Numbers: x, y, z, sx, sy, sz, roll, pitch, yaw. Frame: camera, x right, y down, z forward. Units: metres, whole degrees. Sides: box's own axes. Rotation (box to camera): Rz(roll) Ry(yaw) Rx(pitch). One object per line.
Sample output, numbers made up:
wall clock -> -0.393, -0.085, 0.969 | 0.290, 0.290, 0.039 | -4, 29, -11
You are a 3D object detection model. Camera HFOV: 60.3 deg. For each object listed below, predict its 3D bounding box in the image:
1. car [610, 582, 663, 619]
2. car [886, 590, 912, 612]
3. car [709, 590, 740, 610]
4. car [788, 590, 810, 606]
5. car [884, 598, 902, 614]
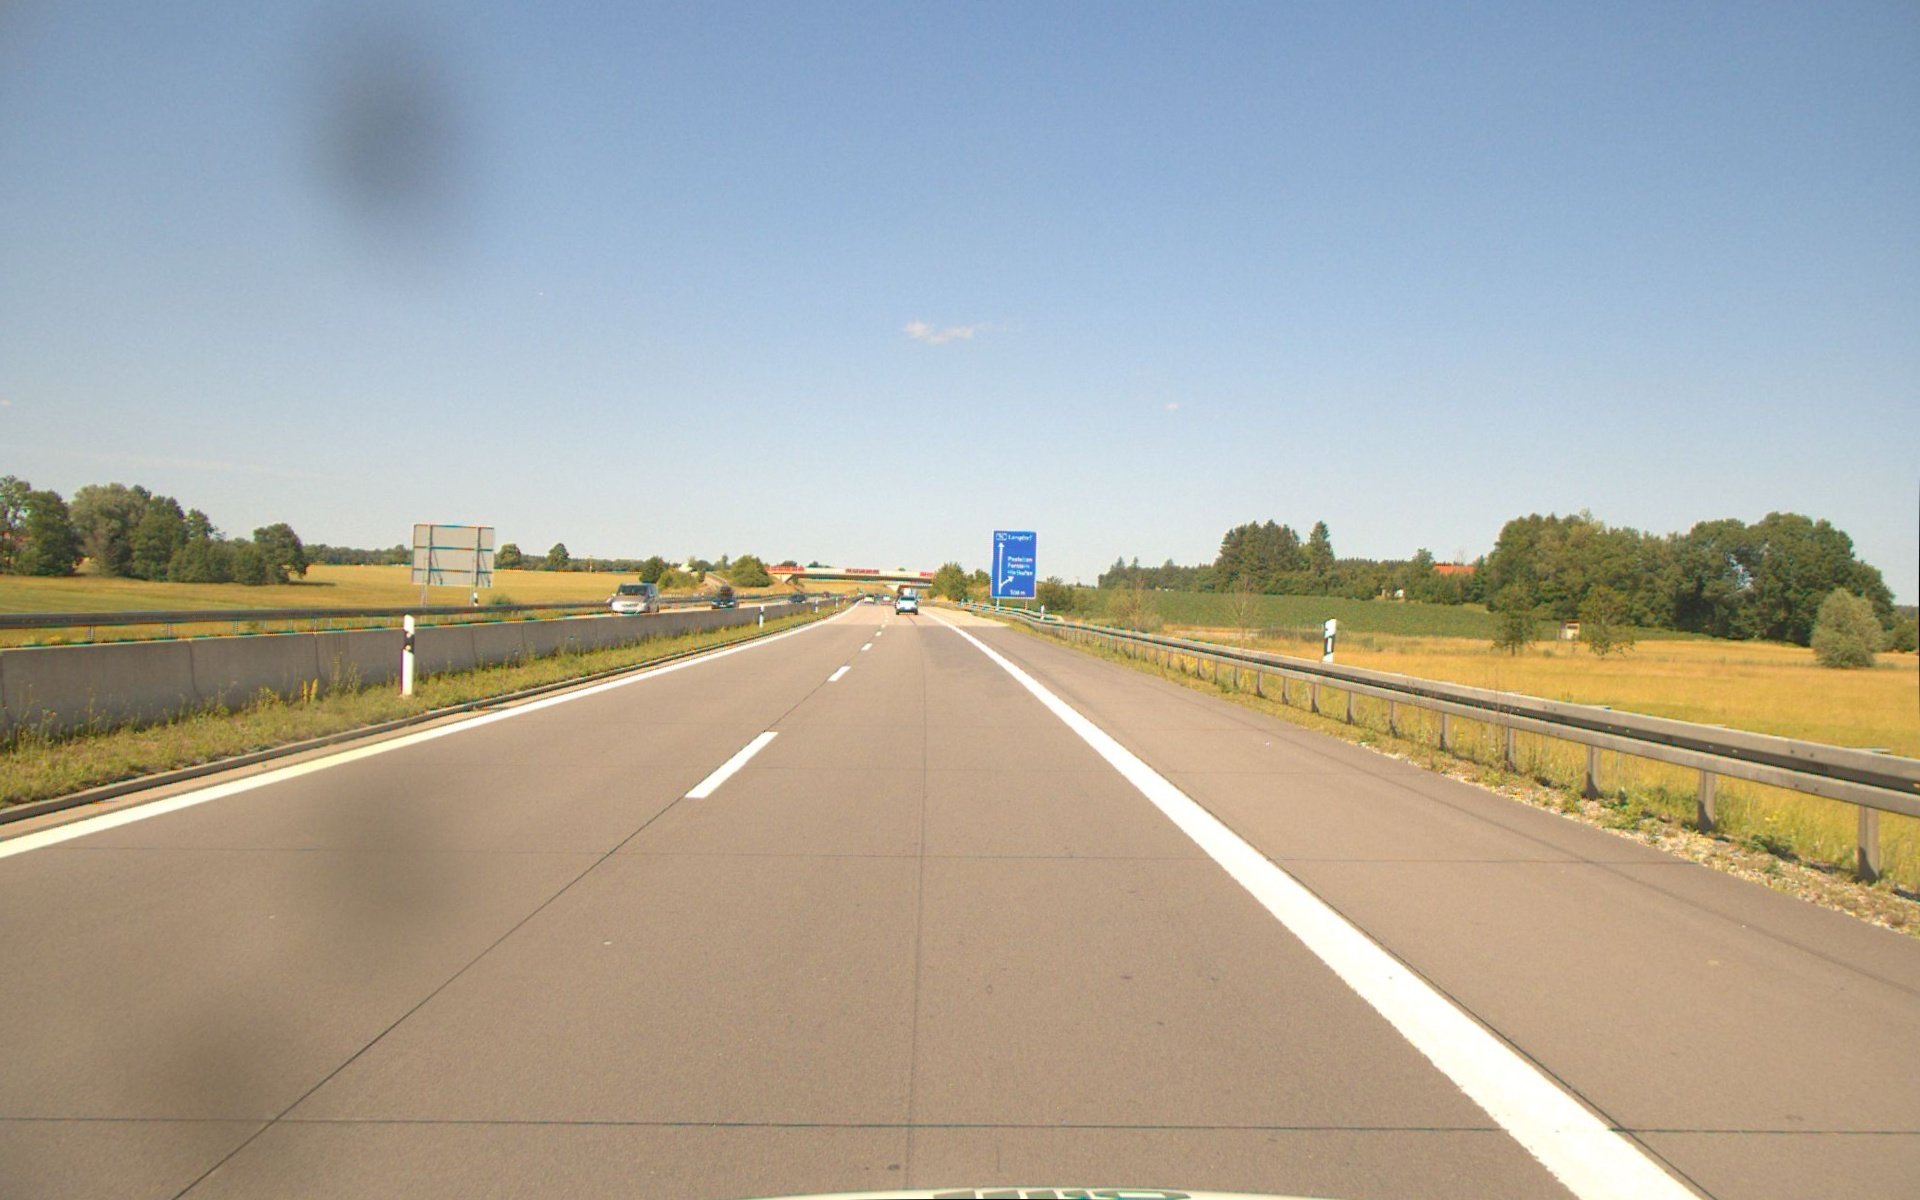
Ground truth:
car -> -16.787, 0.000, 86.054 | 1.915, 1.874, 5.447 | 0, 0, -2
car -> -5.147, 0.063, 138.690 | 1.954, 1.761, 4.865 | 2, 0, -4
car -> -18.285, 0.007, 128.598 | 1.860, 1.550, 4.804 | 0, 0, -2
car -> -15.600, -0.240, 160.332 | 1.860, 1.550, 4.804 | 0, 0, -2
car -> -7.659, 0.713, 190.435 | 1.953, 1.761, 4.867 | 2, 0, -2
